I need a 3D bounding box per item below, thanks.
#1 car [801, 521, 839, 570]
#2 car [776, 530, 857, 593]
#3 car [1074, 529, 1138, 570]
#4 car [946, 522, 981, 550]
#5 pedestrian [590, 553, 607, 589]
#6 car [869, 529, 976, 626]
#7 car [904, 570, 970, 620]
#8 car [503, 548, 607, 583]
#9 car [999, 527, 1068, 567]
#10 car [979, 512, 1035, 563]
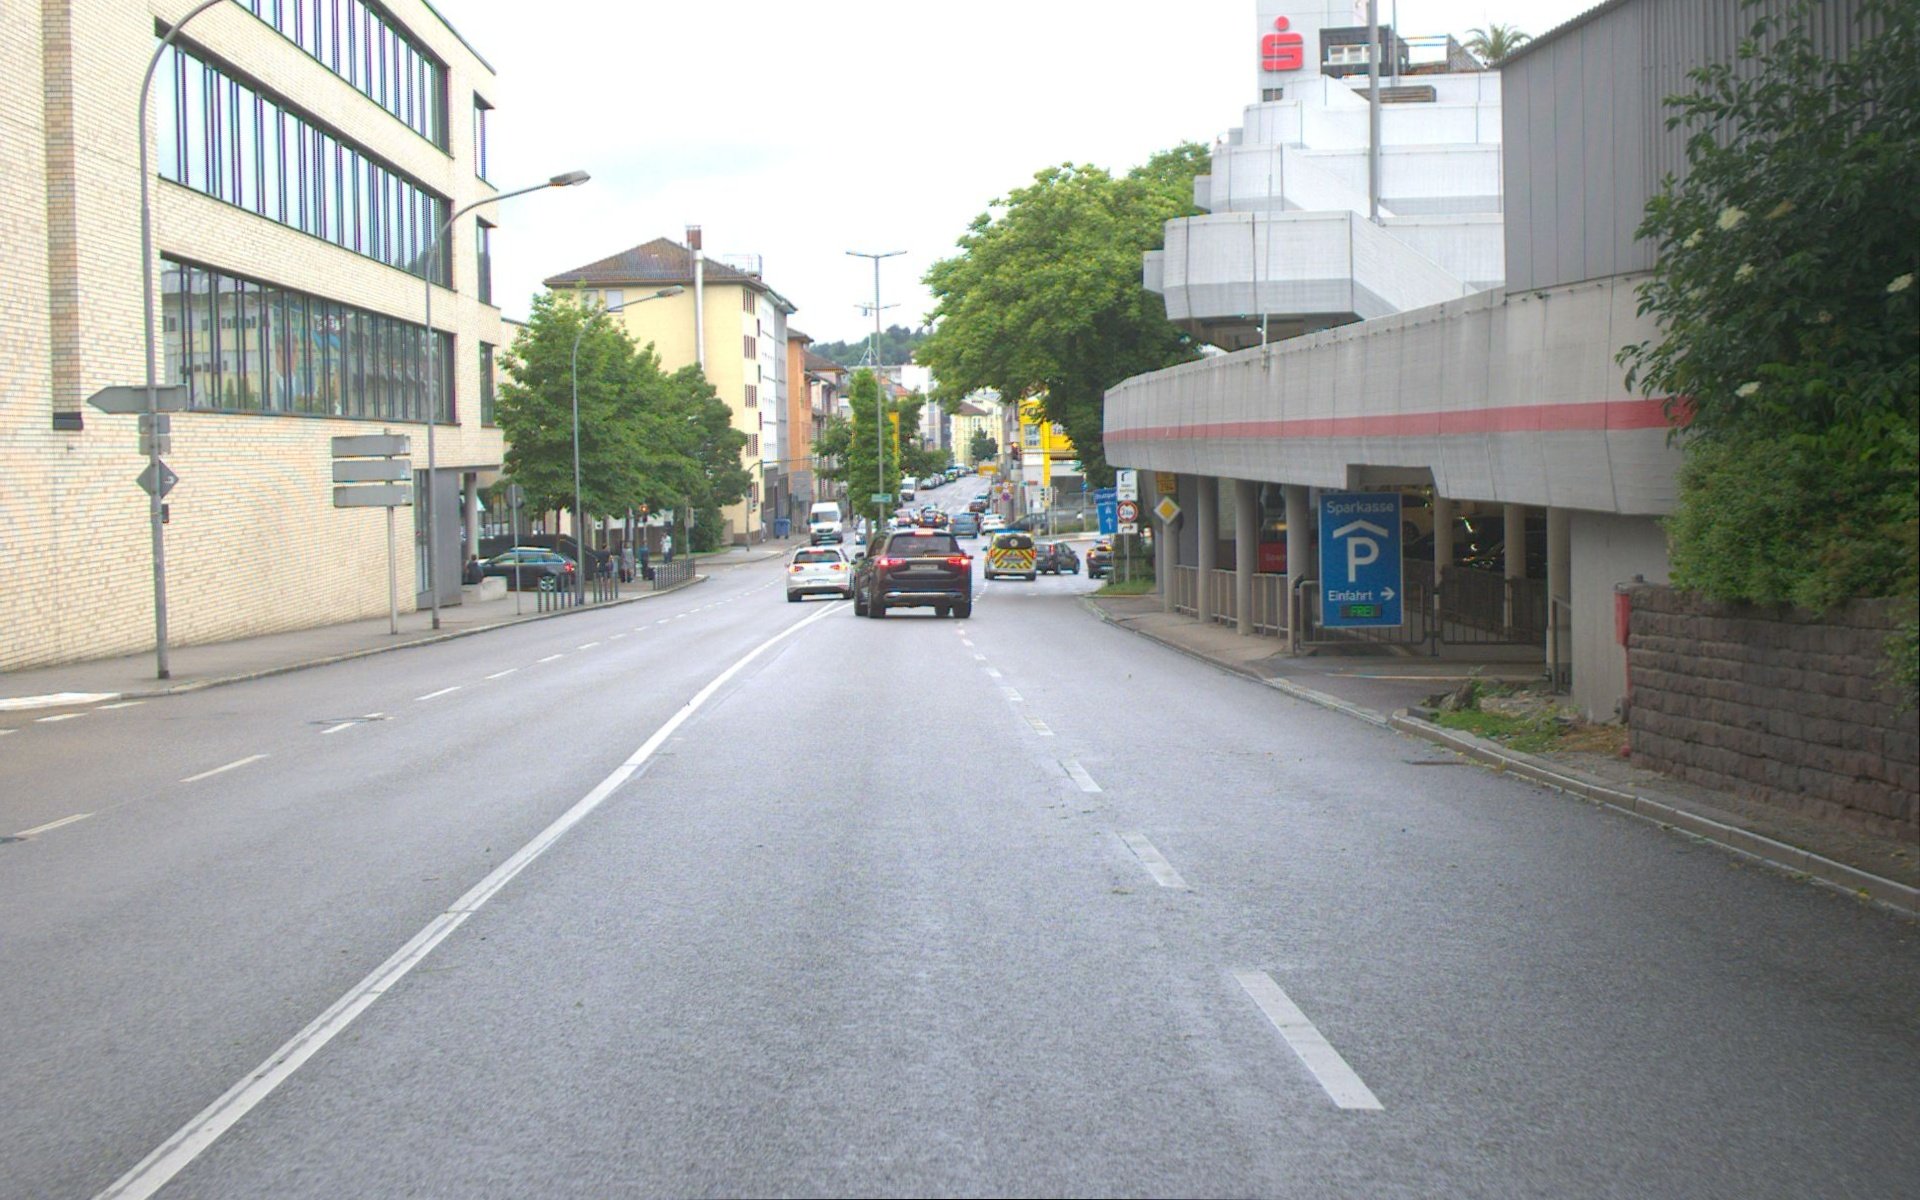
[{"bbox_3d":[-9.024,-3.517,221.498,2.183,3.087,4.932,-1,1,-5],"label":"car"},{"bbox_3d":[-3.960,-1.081,94.247,1.993,1.674,4.001,-1,1,-6],"label":"car"},{"bbox_3d":[6.143,-2.123,144.275,1.995,1.674,3.998,-1,1,13],"label":"car"},{"bbox_3d":[0.212,-4.195,223.826,1.993,1.674,4.001,-1,2,-4],"label":"car"},{"bbox_3d":[-12.835,-1.024,122.033,0.454,1.274,0.454,-1,1,10],"label":"pedestrian"},{"bbox_3d":[-0.730,-0.478,69.705,2.091,1.904,4.100,0,1,0],"label":"car"},{"bbox_3d":[-0.813,-0.187,122.734,1.994,1.674,4.000,-1,1,5],"label":"car"},{"bbox_3d":[-14.494,-1.243,123.185,3.654,1.230,1.441,-1,1,-6],"label":"car"},{"bbox_3d":[3.193,-2.297,148.350,1.995,1.674,3.997,0,1,17],"label":"car"},{"bbox_3d":[1.878,-2.501,138.060,2.173,1.997,4.000,-1,1,0],"label":"car"}]
